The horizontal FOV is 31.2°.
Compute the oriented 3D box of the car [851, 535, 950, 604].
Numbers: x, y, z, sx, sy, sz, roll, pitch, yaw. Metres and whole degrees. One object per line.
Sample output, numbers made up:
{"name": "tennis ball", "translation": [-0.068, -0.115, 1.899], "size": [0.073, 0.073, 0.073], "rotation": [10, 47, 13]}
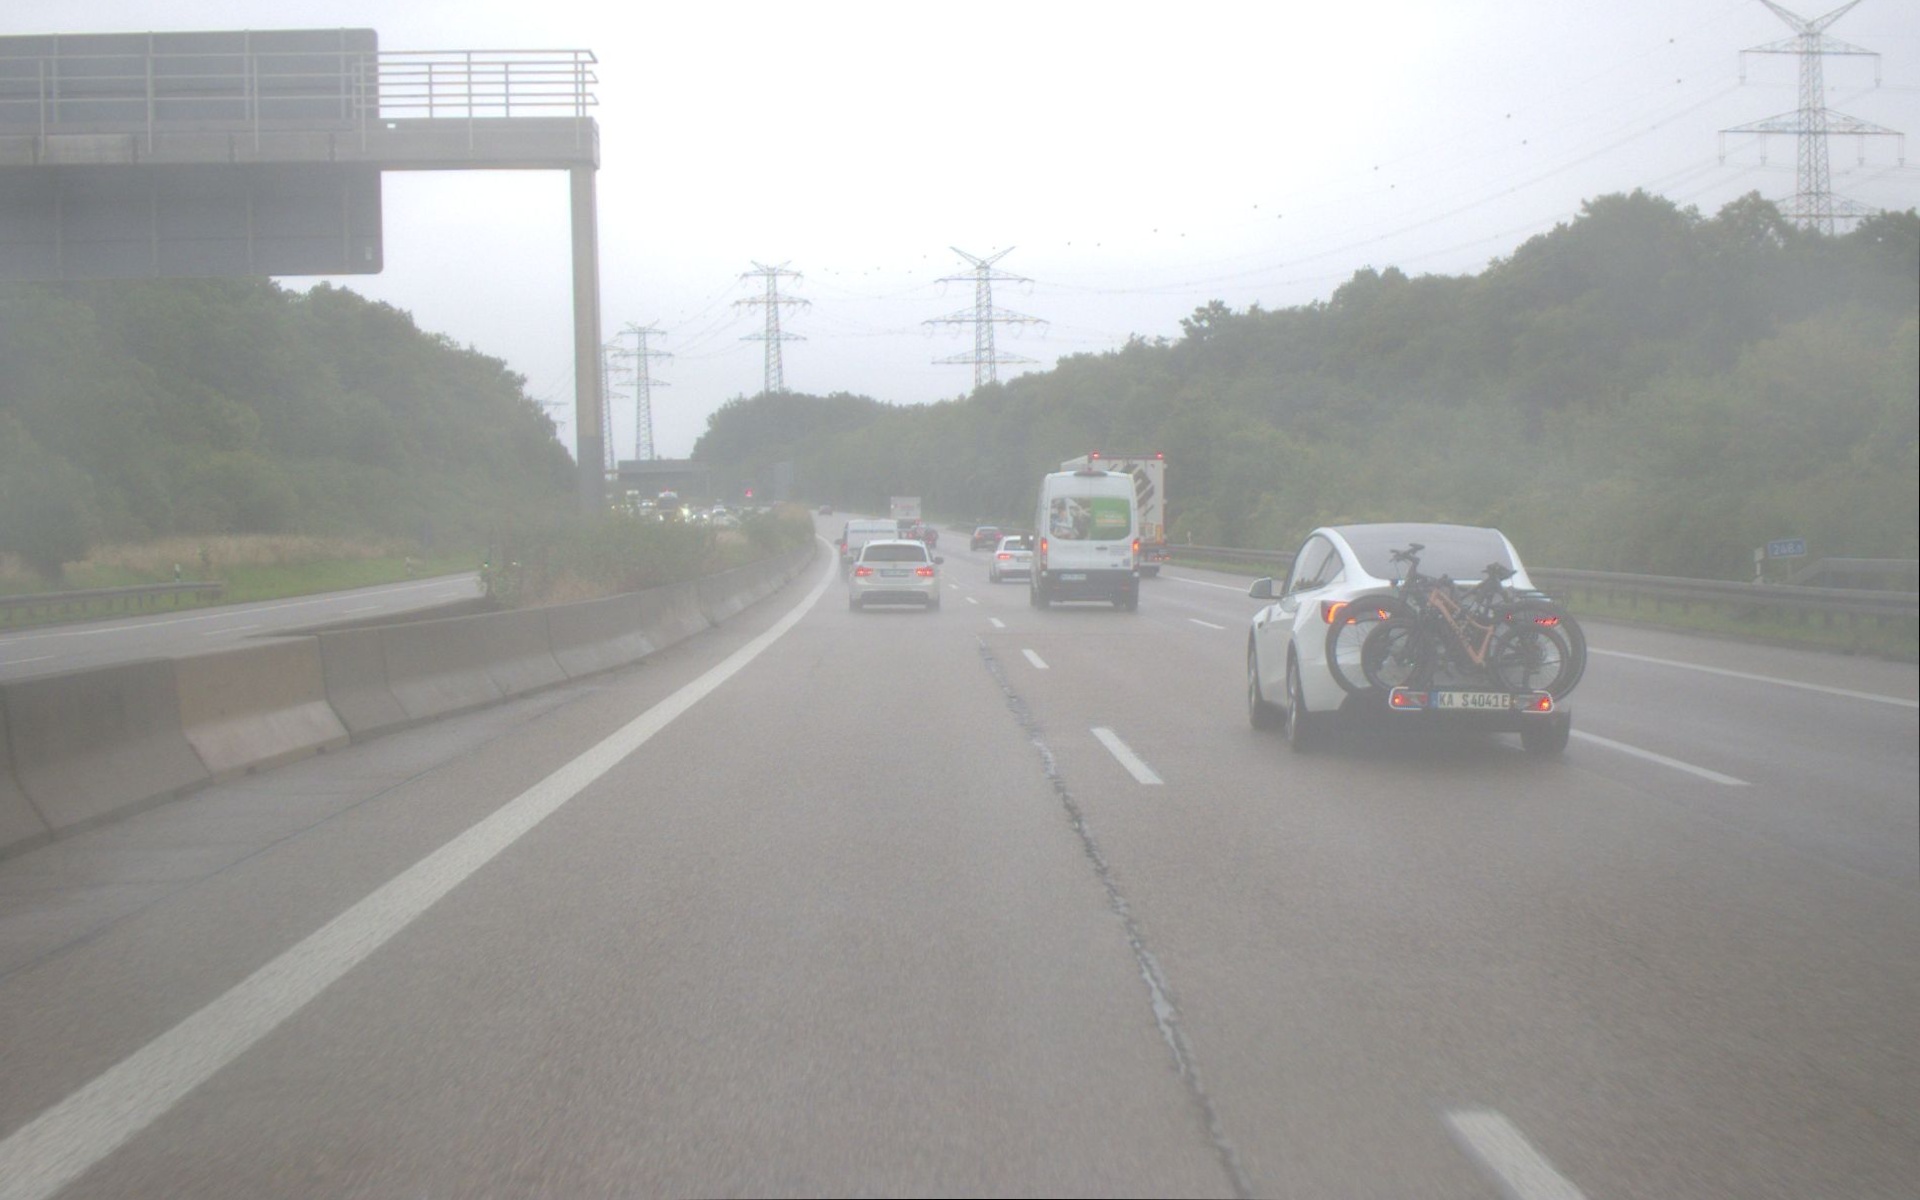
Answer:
{"name": "car", "translation": [-1.162, -0.617, 67.604], "size": [1.866, 1.284, 4.000], "rotation": [-1, 1, -1]}

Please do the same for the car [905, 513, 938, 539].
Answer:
{"name": "car", "translation": [-2.431, -4.607, 214.318], "size": [1.993, 1.568, 4.000], "rotation": [-2, 1, -1]}

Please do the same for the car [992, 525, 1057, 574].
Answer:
{"name": "car", "translation": [1.892, -1.515, 102.430], "size": [1.857, 1.417, 4.000], "rotation": [0, 2, 0]}

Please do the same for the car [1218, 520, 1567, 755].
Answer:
{"name": "car", "translation": [3.087, 0.197, 25.546], "size": [1.860, 1.562, 4.964], "rotation": [0, 1, -1]}

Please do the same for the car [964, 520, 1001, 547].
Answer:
{"name": "car", "translation": [1.325, -3.902, 200.888], "size": [1.993, 1.481, 4.000], "rotation": [-3, 1, -1]}

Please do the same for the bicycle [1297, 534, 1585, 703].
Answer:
{"name": "bicycle", "translation": [3.138, 0.115, 22.565], "size": [1.753, 1.087, 0.914], "rotation": [0, 0, 0]}

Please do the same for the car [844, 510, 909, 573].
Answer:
{"name": "car", "translation": [-2.442, -1.708, 100.882], "size": [1.846, 1.766, 4.000], "rotation": [1, 1, -1]}

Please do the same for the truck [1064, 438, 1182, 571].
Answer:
{"name": "truck", "translation": [5.495, -3.228, 118.240], "size": [3.603, 4.317, 13.200], "rotation": [0, 1, 1]}

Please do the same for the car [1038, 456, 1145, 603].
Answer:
{"name": "car", "translation": [2.625, -1.425, 69.444], "size": [1.993, 2.854, 4.000], "rotation": [-1, 1, 0]}
